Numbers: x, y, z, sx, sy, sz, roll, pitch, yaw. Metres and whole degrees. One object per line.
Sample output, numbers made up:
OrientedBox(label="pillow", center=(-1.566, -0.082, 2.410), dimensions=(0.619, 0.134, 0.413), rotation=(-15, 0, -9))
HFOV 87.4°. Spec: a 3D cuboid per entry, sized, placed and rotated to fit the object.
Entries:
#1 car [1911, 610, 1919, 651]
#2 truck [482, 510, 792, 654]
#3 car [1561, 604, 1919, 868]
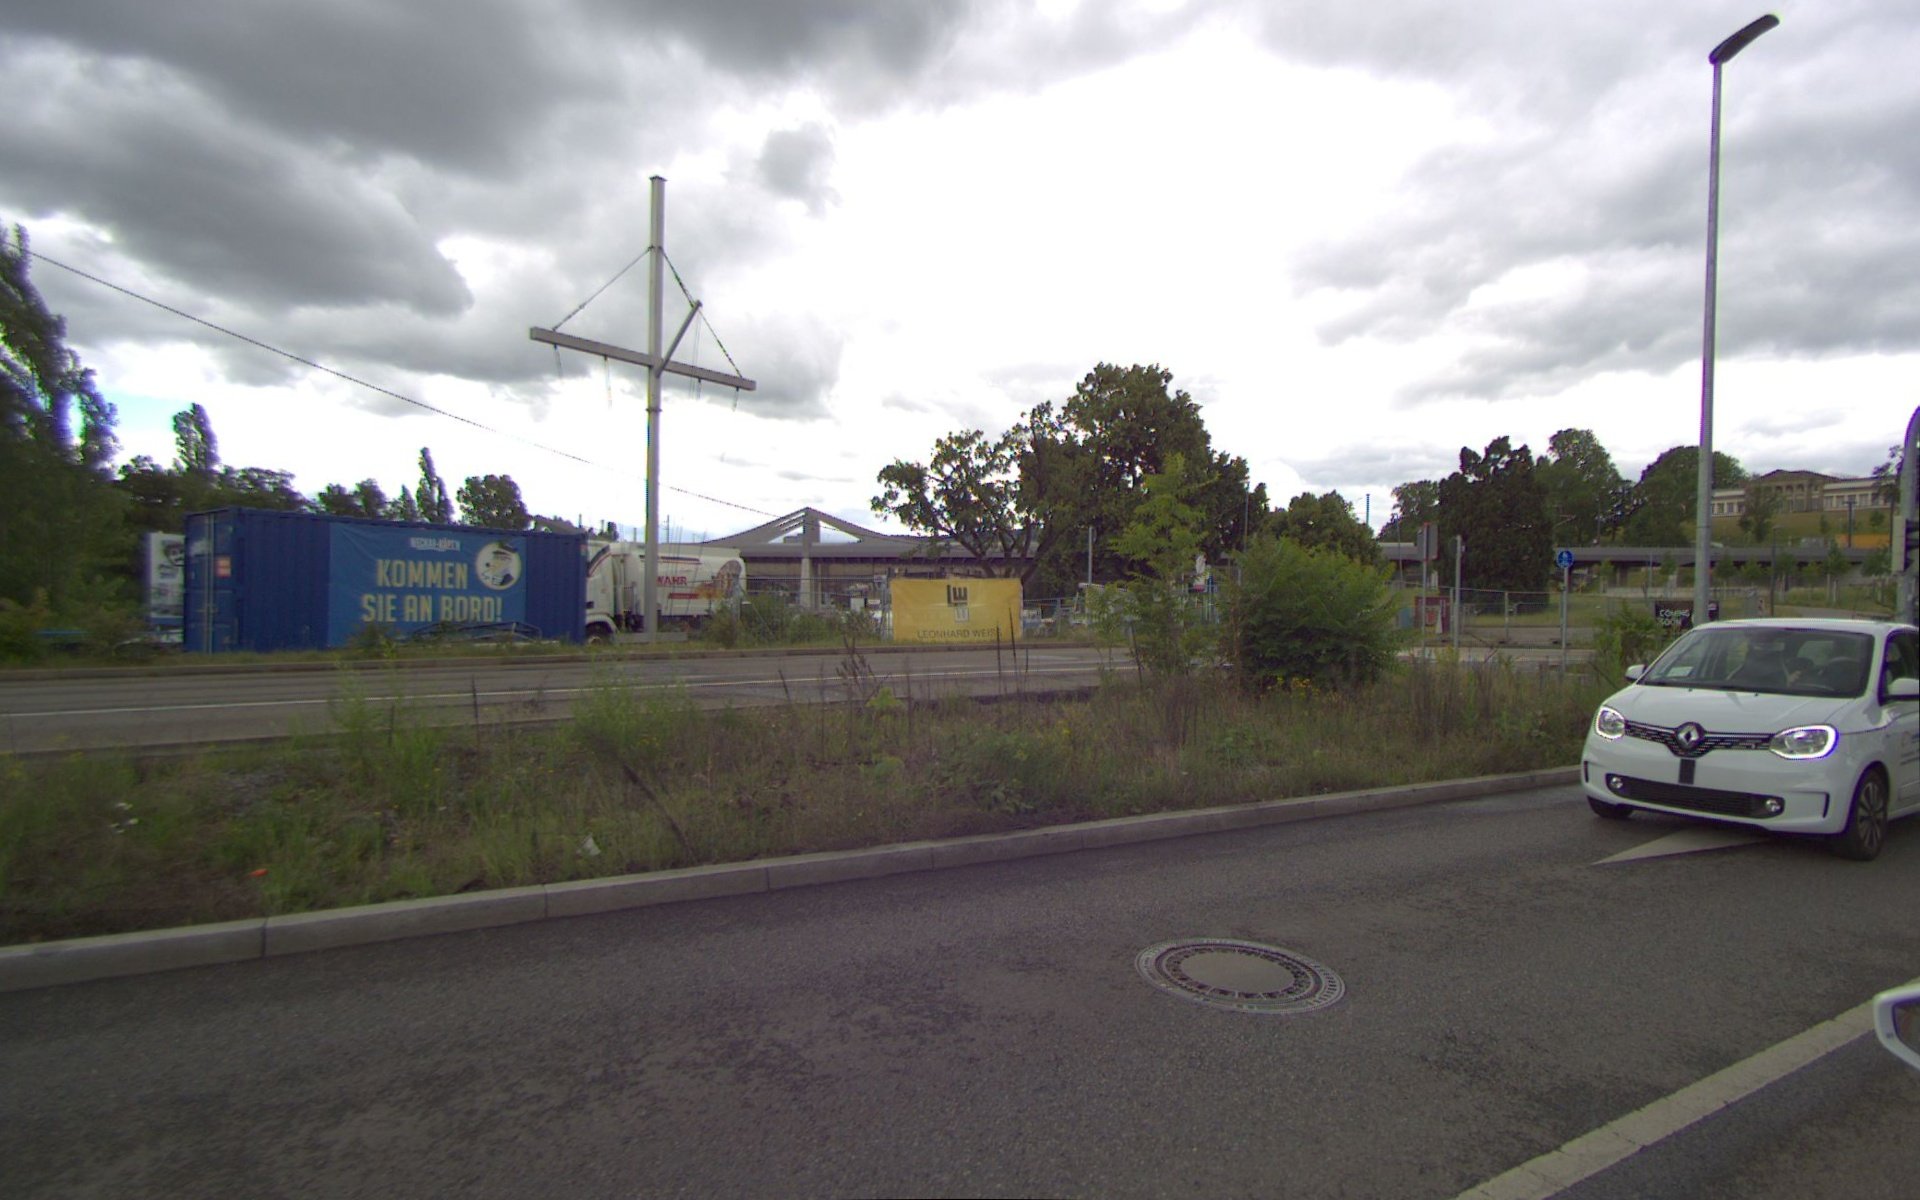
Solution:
OrientedBox(label="car", center=(36.804, 1.107, 35.181), dimensions=(1.970, 1.497, 4.703), rotation=(-1, 0, -20))
OrientedBox(label="truck", center=(-8.565, -0.441, 28.030), dimensions=(2.753, 3.381, 8.458), rotation=(-1, 0, 31))
OrientedBox(label="car", center=(6.584, 0.857, 7.781), dimensions=(4.038, 1.538, 1.583), rotation=(1, 1, -32))
